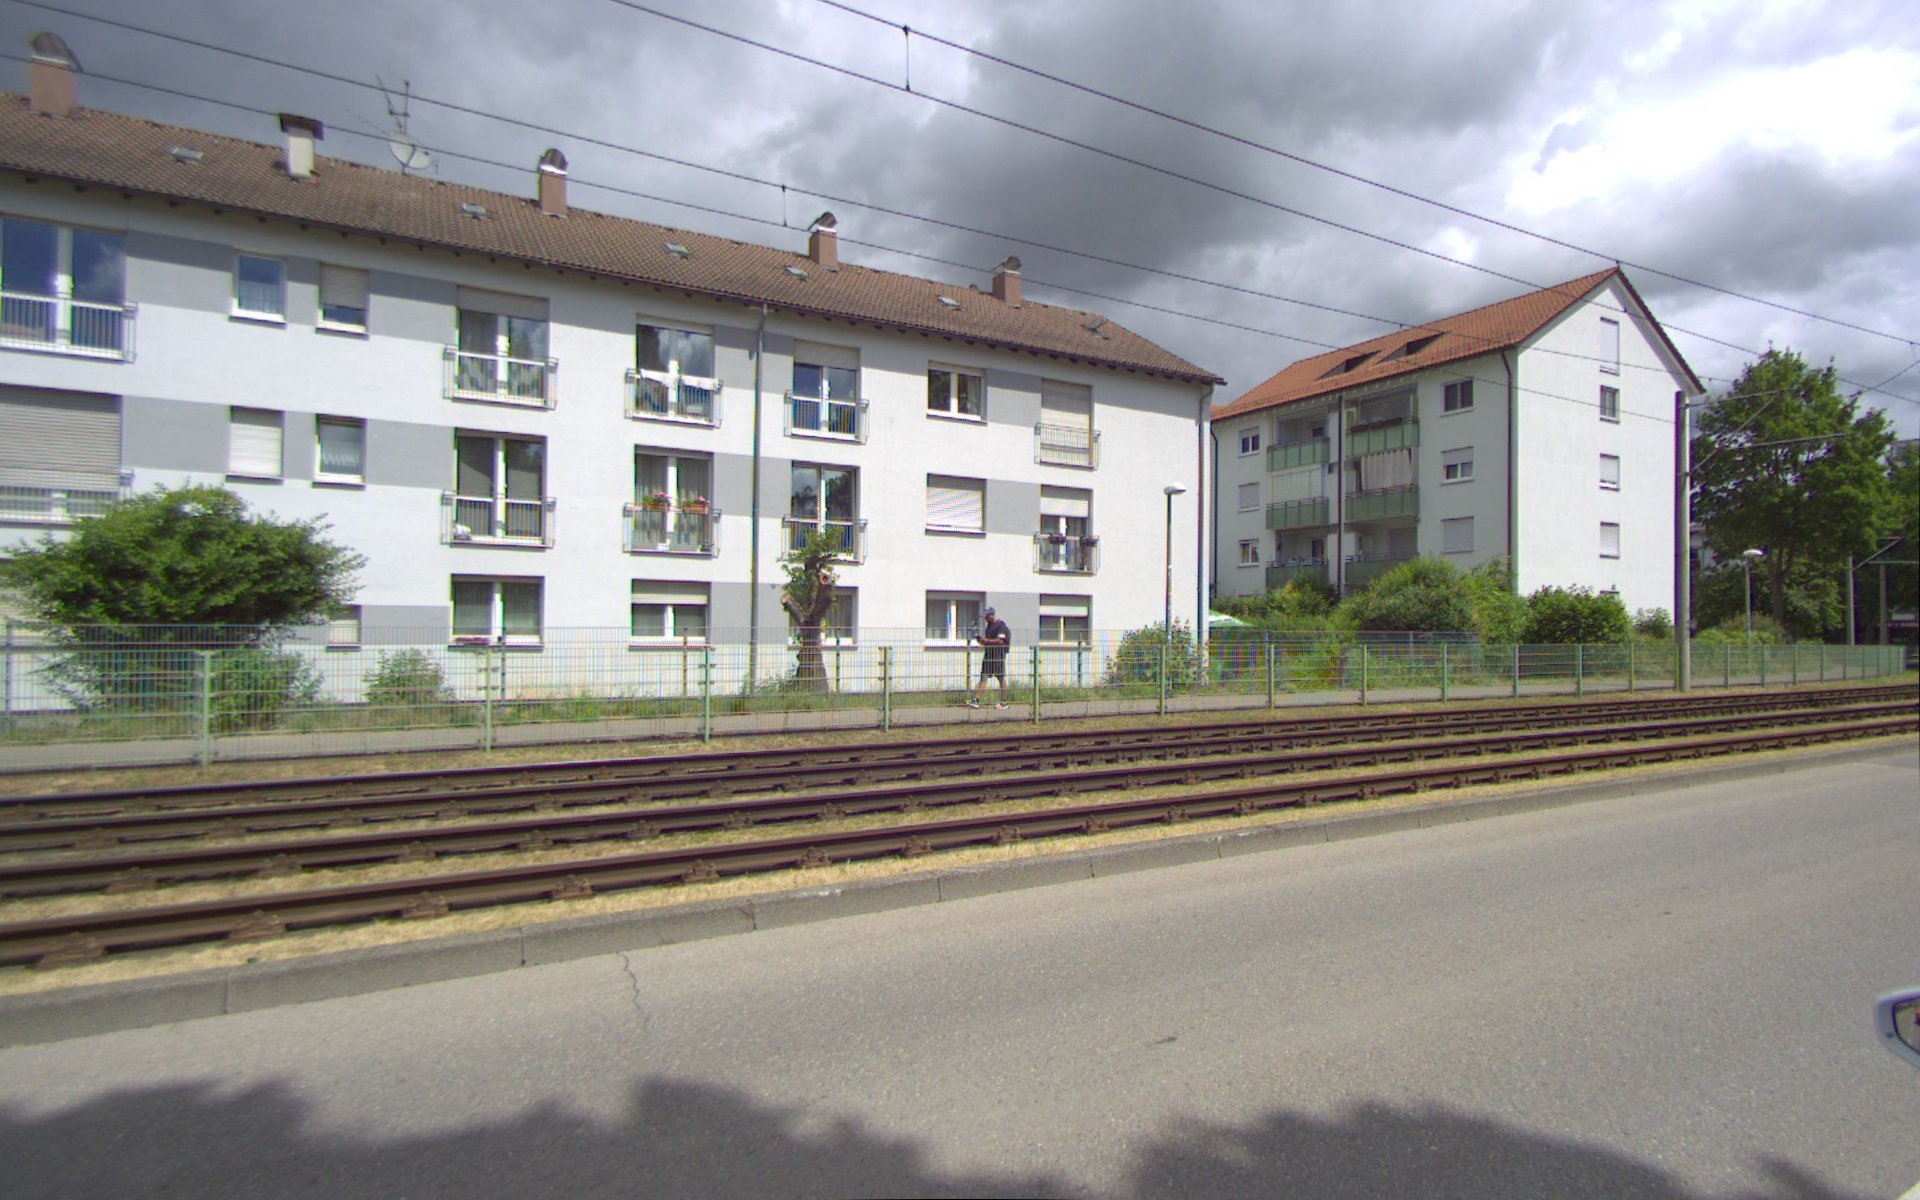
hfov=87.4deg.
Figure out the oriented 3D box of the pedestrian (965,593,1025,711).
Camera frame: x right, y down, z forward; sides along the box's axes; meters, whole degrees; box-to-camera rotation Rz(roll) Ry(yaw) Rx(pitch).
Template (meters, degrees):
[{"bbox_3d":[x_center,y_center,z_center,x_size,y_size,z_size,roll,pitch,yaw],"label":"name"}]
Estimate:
[{"bbox_3d":[0.570,0.851,16.554,0.759,1.873,0.656,1,-3,-30],"label":"pedestrian"}]
